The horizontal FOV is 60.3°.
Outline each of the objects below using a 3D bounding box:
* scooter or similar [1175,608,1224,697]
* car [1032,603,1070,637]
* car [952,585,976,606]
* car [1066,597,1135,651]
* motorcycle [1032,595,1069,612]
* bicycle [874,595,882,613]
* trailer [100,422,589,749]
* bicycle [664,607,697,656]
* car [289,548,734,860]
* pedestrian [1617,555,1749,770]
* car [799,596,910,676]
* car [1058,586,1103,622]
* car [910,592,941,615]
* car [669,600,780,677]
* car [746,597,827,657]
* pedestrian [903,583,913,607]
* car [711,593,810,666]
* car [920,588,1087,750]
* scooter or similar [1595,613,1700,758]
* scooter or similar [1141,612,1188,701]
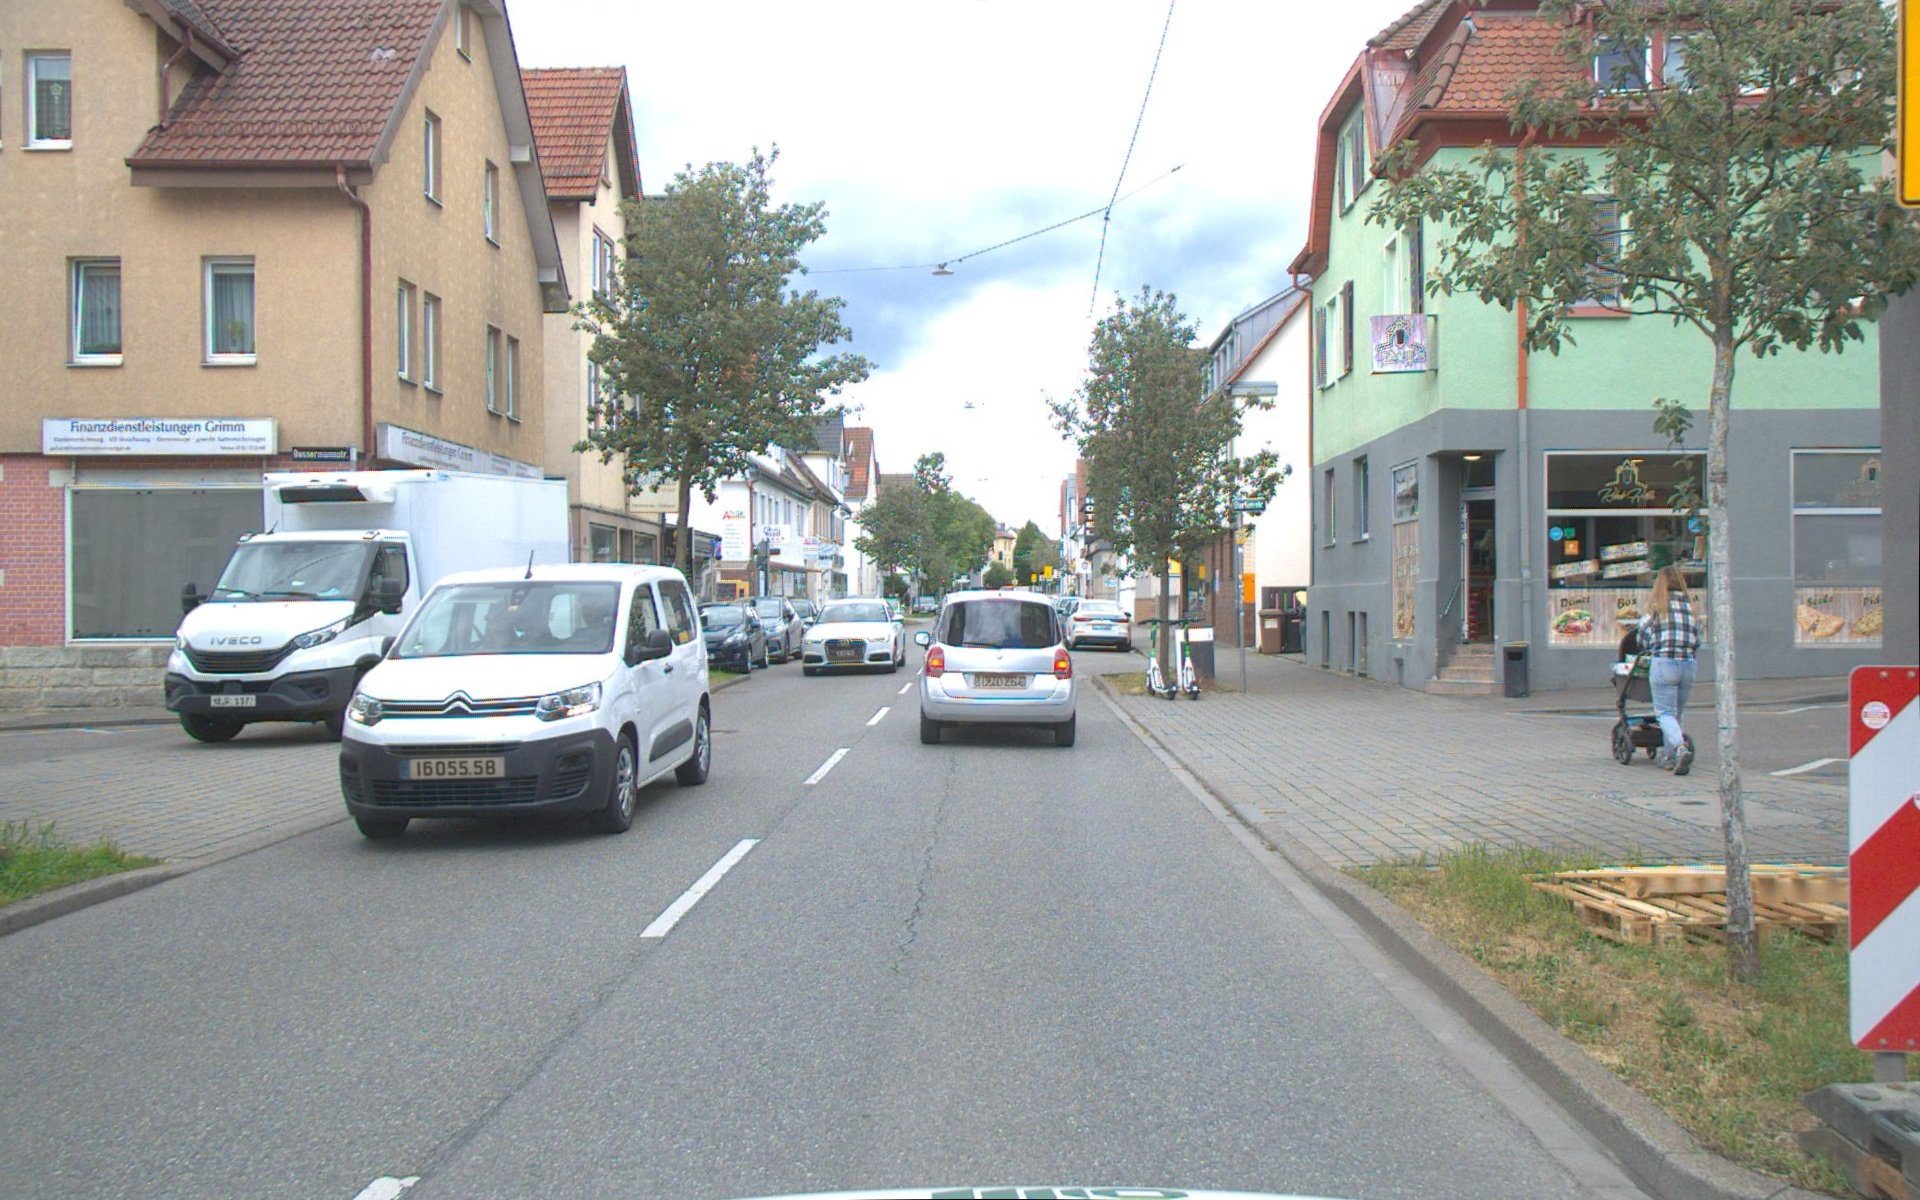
[{"bbox_3d":[3.583,0.762,24.855,0.491,1.257,1.942,0,0,1],"label":"scooter or similar"},{"bbox_3d":[4.231,0.908,77.413,1.718,1.471,4.456,1,0,2],"label":"car"},{"bbox_3d":[0.344,-0.373,146.002,1.861,1.768,4.367,-2,0,2],"label":"car"},{"bbox_3d":[4.027,0.656,47.870,1.793,1.471,4.333,1,0,2],"label":"car"},{"bbox_3d":[6.396,0.256,116.700,2.698,1.204,0.693,0,0,-29],"label":"motorcycle"},{"bbox_3d":[-5.640,0.276,114.288,0.504,1.174,1.666,0,0,-1],"label":"bicycle"},{"bbox_3d":[-7.043,-0.162,20.274,2.450,3.275,7.141,0,0,8],"label":"trailer"},{"bbox_3d":[-7.410,0.834,43.913,0.491,1.257,1.942,0,0,1],"label":"bicycle"},{"bbox_3d":[-2.997,0.623,12.096,1.952,1.827,4.278,-2,0,1],"label":"car"},{"bbox_3d":[6.076,0.507,13.942,0.735,1.750,0.900,0,0,2],"label":"pedestrian"},{"bbox_3d":[-2.068,0.671,33.649,1.804,1.458,4.544,-2,0,2],"label":"car"},{"bbox_3d":[5.260,0.154,72.587,1.793,1.524,3.994,1,0,2],"label":"car"},{"bbox_3d":[-2.423,0.246,118.378,1.908,1.493,4.517,-3,0,2],"label":"car"},{"bbox_3d":[-4.873,0.756,34.630,1.648,1.449,3.931,-2,0,1],"label":"car"},{"bbox_3d":[-4.730,0.713,45.540,1.647,1.519,3.592,-2,0,2],"label":"car"},{"bbox_3d":[-3.971,-0.372,126.885,0.747,1.822,0.890,0,0,1],"label":"pedestrian"},{"bbox_3d":[-4.766,0.671,40.019,1.674,1.593,4.115,-2,0,2],"label":"car"},{"bbox_3d":[0.510,0.685,18.503,1.647,1.593,3.994,1,0,2],"label":"car"},{"bbox_3d":[6.178,0.752,14.897,0.577,1.254,0.891,0,0,1],"label":"scooter or similar"},{"bbox_3d":[3.059,0.820,24.859,0.491,1.257,1.942,0,0,1],"label":"scooter or similar"}]
